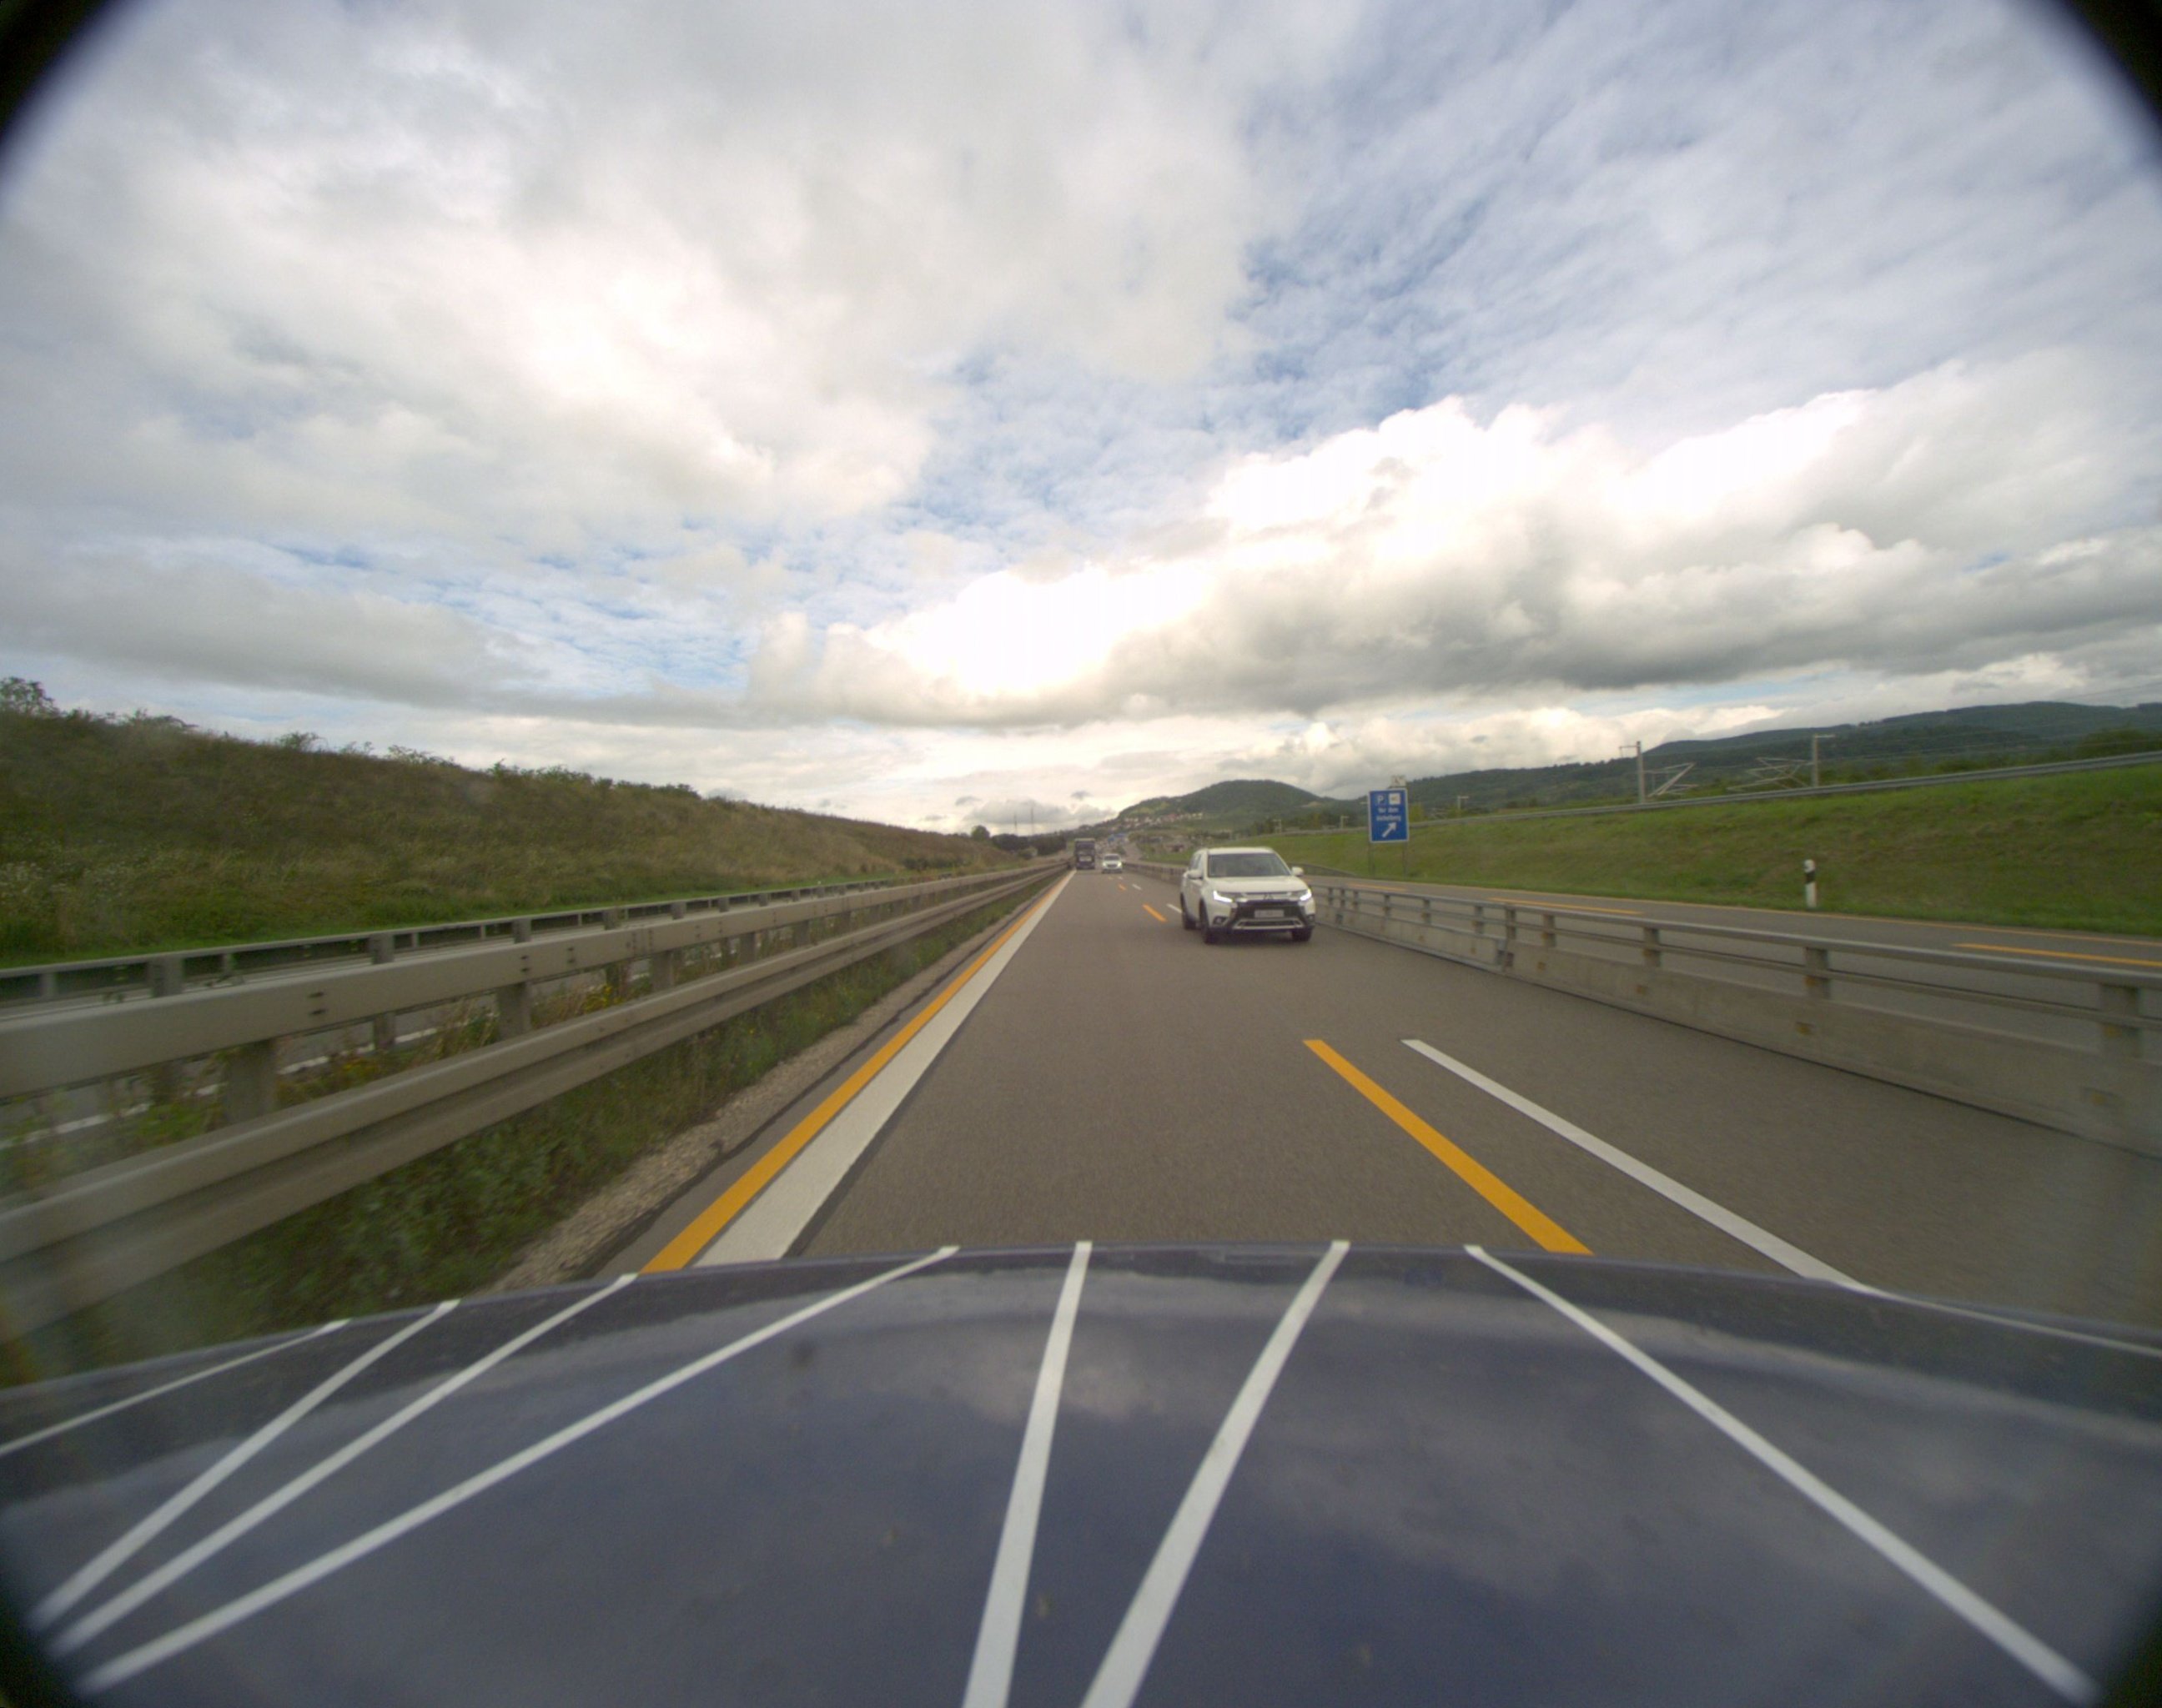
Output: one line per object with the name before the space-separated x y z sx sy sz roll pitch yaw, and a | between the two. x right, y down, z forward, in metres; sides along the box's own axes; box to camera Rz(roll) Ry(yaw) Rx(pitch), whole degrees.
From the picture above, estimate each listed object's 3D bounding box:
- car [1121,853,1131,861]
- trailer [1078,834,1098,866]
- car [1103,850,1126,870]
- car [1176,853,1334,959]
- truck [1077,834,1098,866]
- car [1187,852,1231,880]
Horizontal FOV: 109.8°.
car | 8.570 0.567 146.268 1.761 1.380 4.000 -2 0 1
trailer | 1.086 -0.531 105.341 2.521 4.081 11.113 -2 0 1
car | 3.211 0.566 74.000 1.991 1.787 4.586 -2 0 1
car | 3.004 0.816 14.170 1.998 1.618 4.607 -1 0 2
truck | 0.934 -0.494 100.095 2.521 4.081 5.685 -2 0 1
car | 7.062 0.627 42.317 1.761 1.380 4.326 -3 0 1
